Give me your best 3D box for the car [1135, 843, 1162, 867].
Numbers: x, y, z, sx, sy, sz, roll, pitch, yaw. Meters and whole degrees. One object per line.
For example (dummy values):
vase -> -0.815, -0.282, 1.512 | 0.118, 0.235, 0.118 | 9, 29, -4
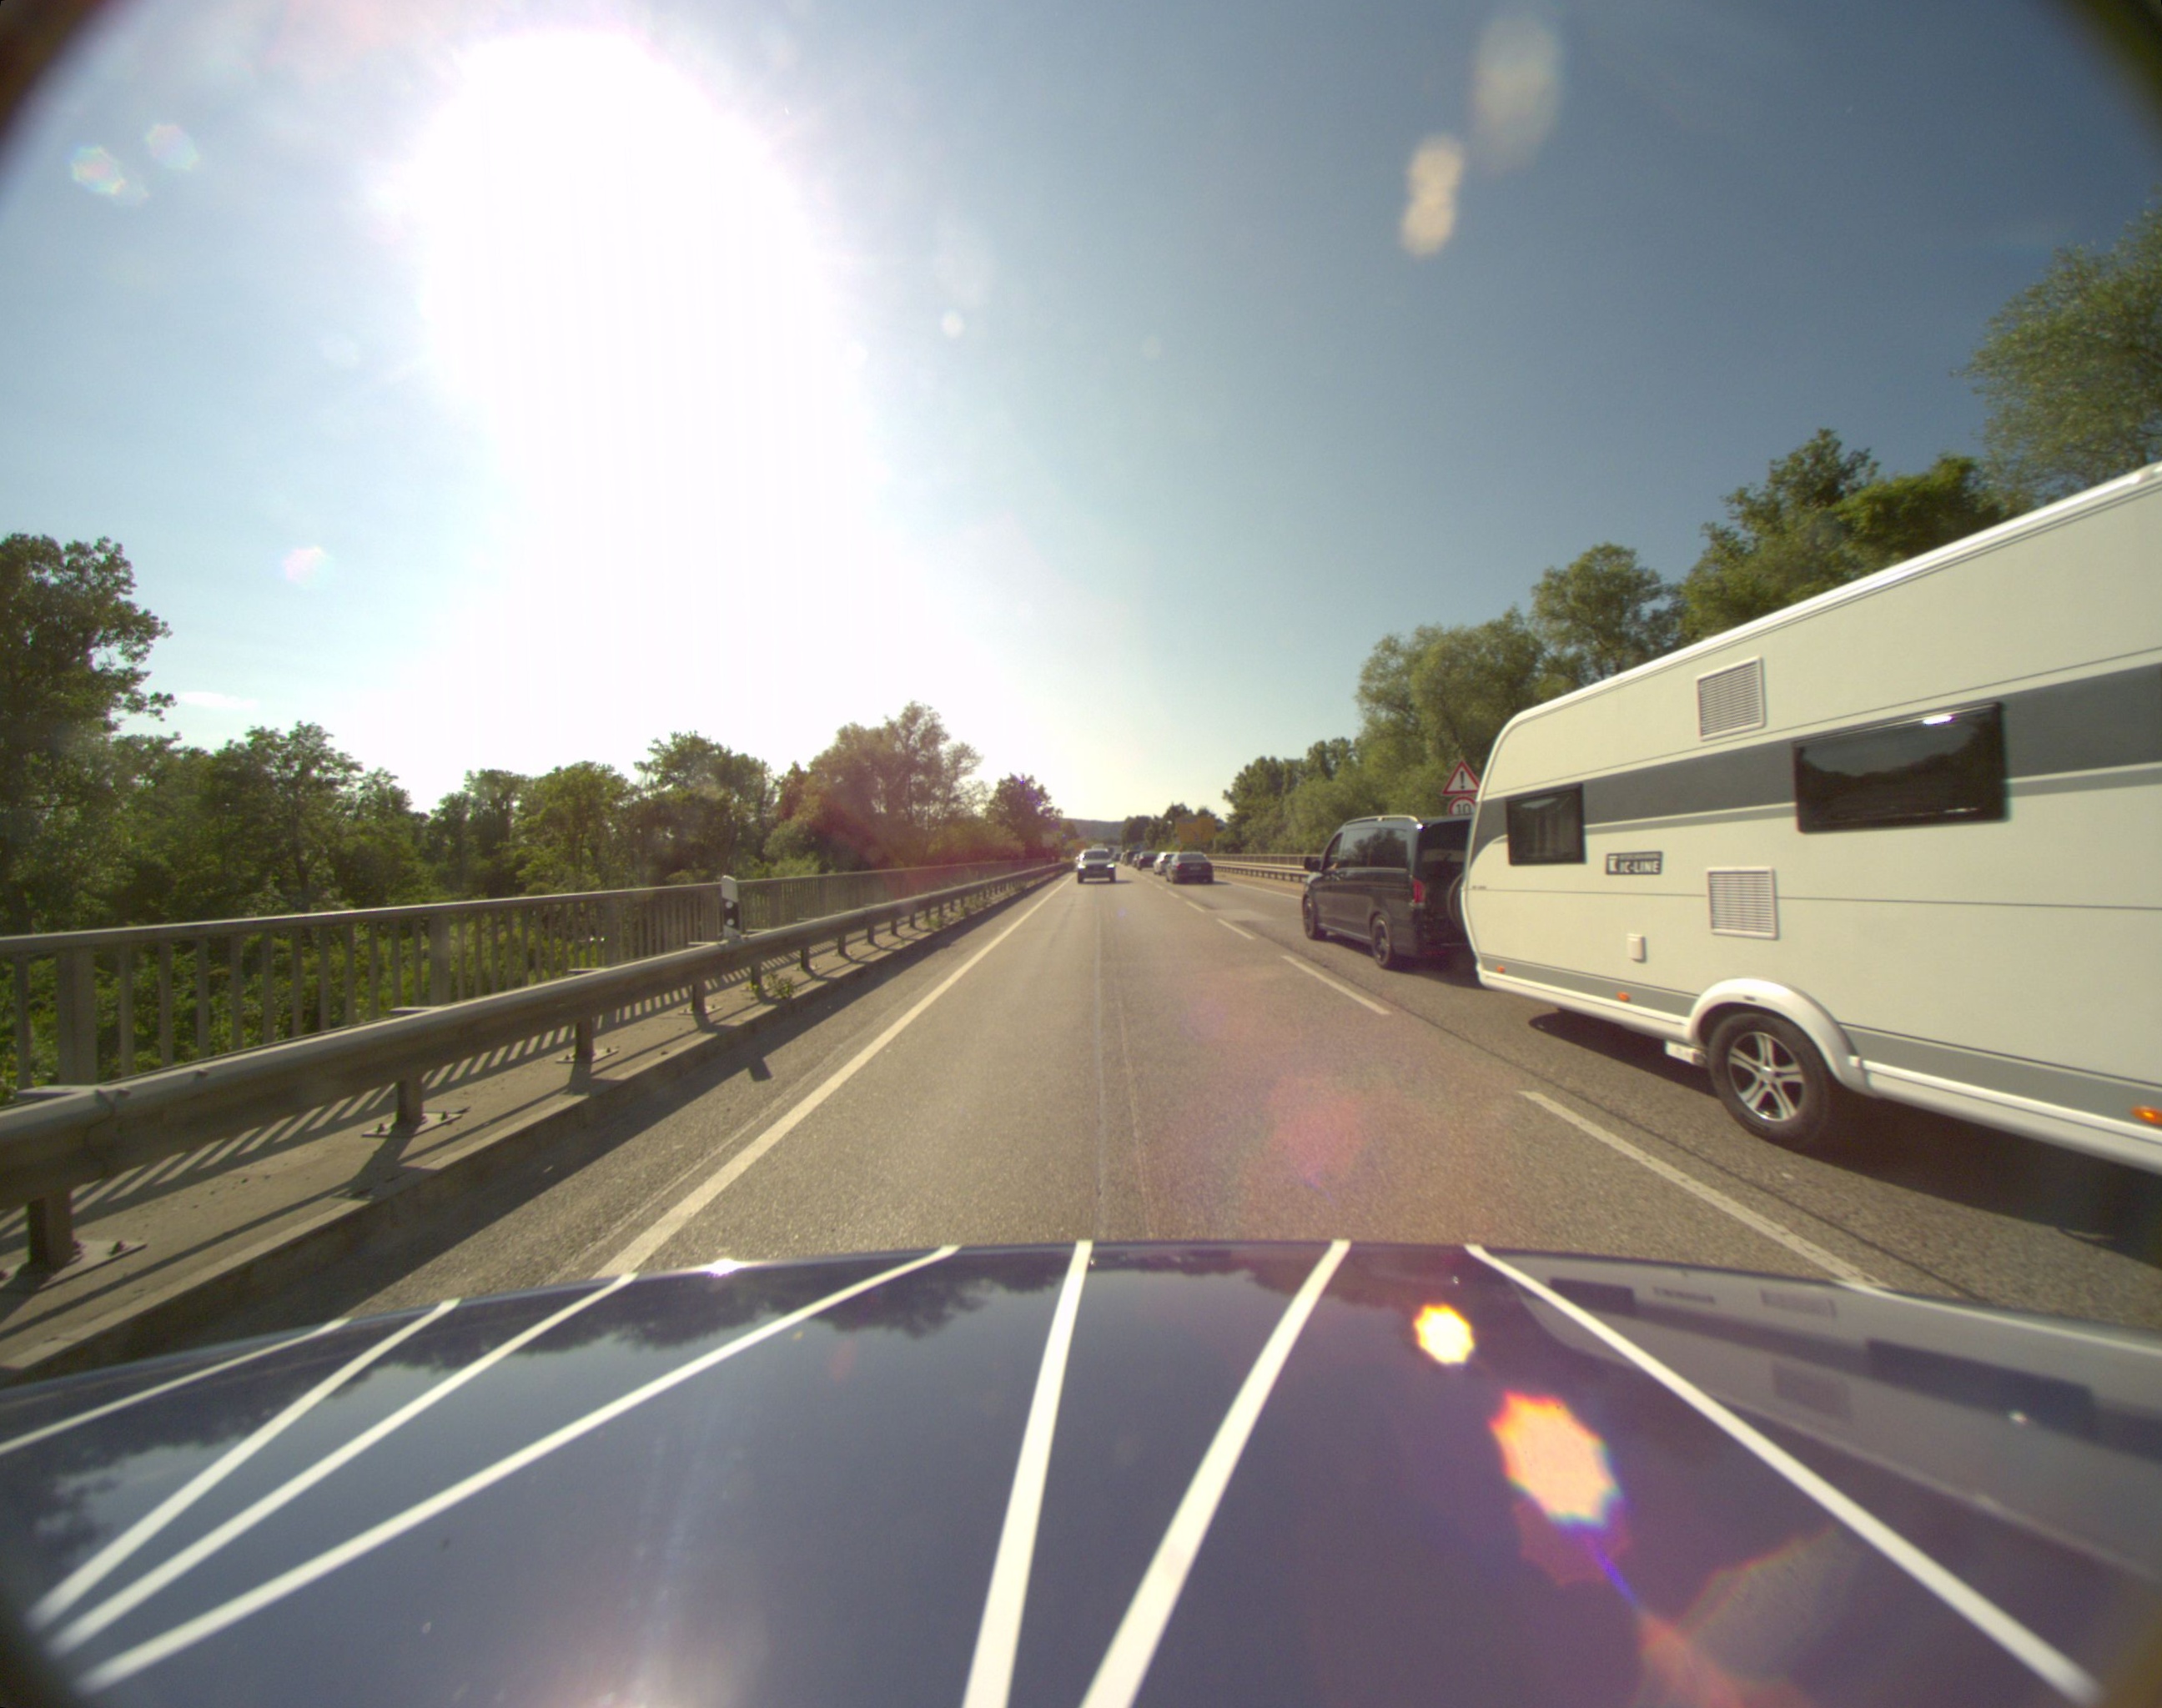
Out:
car -> 5.572, 0.058, 63.048 | 1.972, 1.796, 4.531 | -2, 0, 2

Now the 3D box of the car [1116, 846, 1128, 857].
car -> 6.979, -0.446, 129.851 | 1.743, 1.655, 4.046 | -2, 1, 1

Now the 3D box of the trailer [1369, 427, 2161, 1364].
trailer -> 4.463, 0.102, 4.476 | 2.561, 2.721, 8.063 | -2, 0, 1

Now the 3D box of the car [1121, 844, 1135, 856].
car -> 6.711, -0.539, 108.845 | 1.824, 1.538, 4.061 | -3, 0, 1

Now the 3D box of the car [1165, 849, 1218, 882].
car -> 5.144, 0.486, 35.799 | 1.791, 1.412, 4.650 | -1, 1, 0

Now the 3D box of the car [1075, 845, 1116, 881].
car -> 0.788, 0.417, 38.803 | 1.871, 1.599, 4.380 | -4, 1, 3

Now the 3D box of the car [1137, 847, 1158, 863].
car -> 6.835, 0.081, 78.569 | 1.893, 1.479, 4.272 | -2, 1, 1

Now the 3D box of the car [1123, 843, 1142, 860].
car -> 6.154, -0.333, 90.975 | 1.972, 1.796, 4.530 | -4, 1, 2

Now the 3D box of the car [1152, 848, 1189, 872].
car -> 5.745, 0.382, 49.058 | 1.736, 1.427, 4.486 | -1, 1, -1

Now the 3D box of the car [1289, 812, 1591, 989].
car -> 4.504, 0.474, 10.588 | 1.988, 1.843, 5.008 | -1, 1, 2

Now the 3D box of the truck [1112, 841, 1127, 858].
truck -> 7.446, -0.868, 146.424 | 2.620, 3.235, 6.967 | -2, 0, 1

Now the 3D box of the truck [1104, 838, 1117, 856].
truck -> 7.087, -1.714, 183.823 | 2.744, 4.303, 8.130 | -2, 0, 1
